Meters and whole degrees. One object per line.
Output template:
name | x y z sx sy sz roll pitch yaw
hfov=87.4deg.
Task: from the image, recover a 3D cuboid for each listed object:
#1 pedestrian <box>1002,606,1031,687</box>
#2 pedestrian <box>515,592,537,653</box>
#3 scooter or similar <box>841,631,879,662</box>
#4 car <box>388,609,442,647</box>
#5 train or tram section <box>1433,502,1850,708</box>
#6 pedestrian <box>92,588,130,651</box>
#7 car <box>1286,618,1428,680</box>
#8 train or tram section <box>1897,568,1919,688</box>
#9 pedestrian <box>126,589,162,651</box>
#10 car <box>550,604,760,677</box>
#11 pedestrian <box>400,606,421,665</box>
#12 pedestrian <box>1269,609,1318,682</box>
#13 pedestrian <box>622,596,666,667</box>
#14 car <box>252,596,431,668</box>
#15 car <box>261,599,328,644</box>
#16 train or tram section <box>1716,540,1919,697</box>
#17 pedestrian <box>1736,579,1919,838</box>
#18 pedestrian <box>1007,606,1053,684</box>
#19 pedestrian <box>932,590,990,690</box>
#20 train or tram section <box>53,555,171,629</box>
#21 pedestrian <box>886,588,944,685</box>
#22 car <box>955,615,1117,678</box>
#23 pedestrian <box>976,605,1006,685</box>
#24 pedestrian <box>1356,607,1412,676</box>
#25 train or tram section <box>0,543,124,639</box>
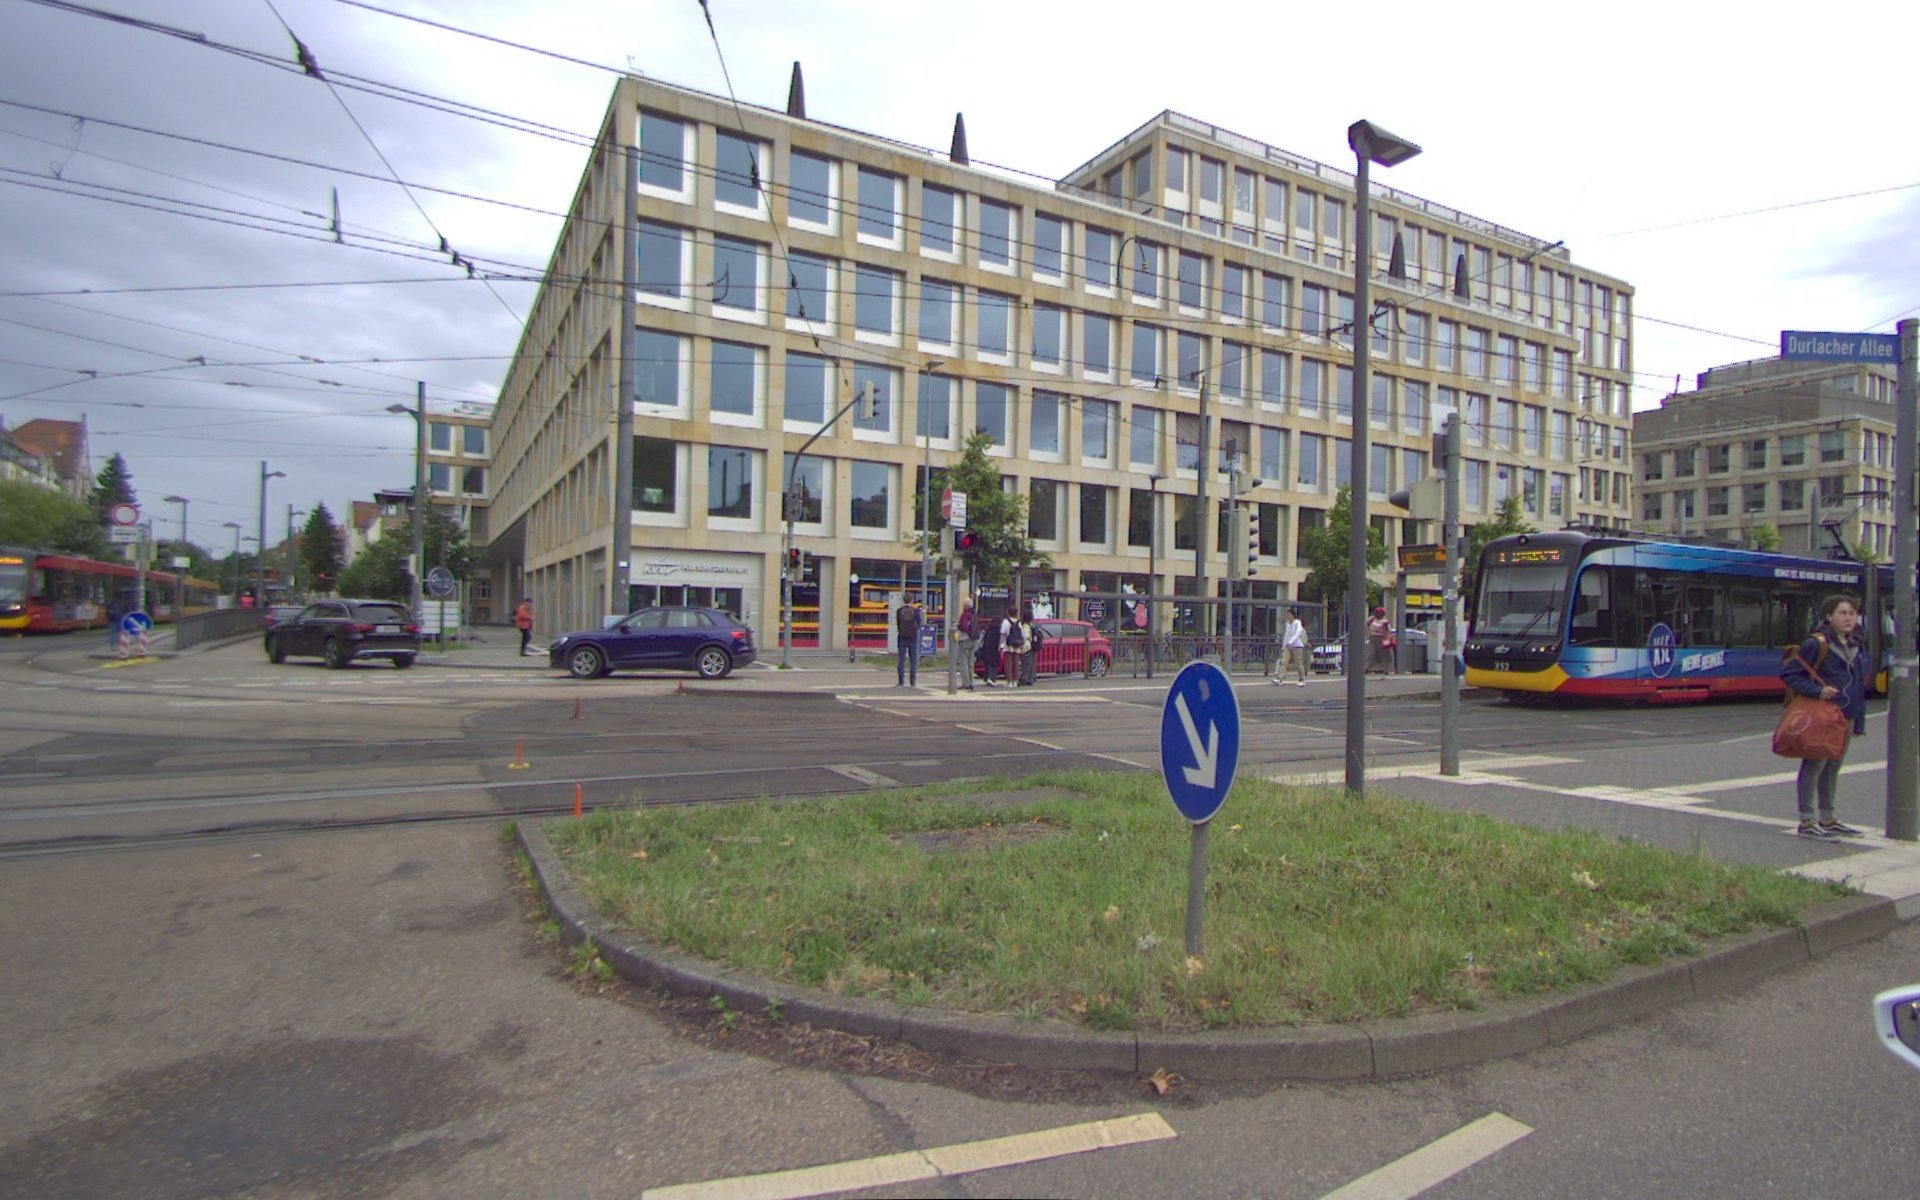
pedestrian | 1.175 0.951 20.773 0.514 1.619 0.717 1 -1 6
pedestrian | -13.038 0.684 30.193 0.457 1.818 0.411 3 -2 -39
scooter or similar | -3.073 1.430 30.853 0.685 0.860 1.479 2 -1 -25
car | -21.563 1.090 39.844 1.773 1.439 3.677 2 -1 -27
train or tram section | 15.355 0.326 22.110 11.627 3.688 2.841 3 -2 -30
pedestrian | -24.662 0.569 29.204 0.677 1.777 0.851 2 -2 -33
car | 12.118 1.485 30.616 3.953 1.762 1.985 3 -2 -30
train or tram section | 36.216 1.123 33.999 13.362 3.740 2.841 3 -2 -30
pedestrian | -24.036 0.599 29.605 0.677 1.777 0.851 2 -2 -33
car | -6.653 0.894 22.330 4.291 1.514 1.740 1 -1 -13
pedestrian | -17.209 1.116 31.453 0.457 1.818 0.411 3 -2 -39
pedestrian | 7.508 1.023 22.629 0.757 1.606 0.704 2 -2 -31
pedestrian | -9.400 0.941 29.890 0.986 2.040 1.038 2 -2 -30
car | -15.217 0.757 24.683 4.240 1.620 1.743 1 -1 26
car | -25.338 0.792 38.350 1.978 1.617 3.965 2 -1 -32
train or tram section | 25.394 0.675 27.849 11.563 3.688 2.841 3 -2 -30
pedestrian | 6.007 0.712 6.936 0.844 1.664 0.653 1 -1 20
pedestrian | 1.497 0.945 21.479 0.704 1.619 0.707 1 -1 30
pedestrian | 0.018 0.780 19.652 0.839 1.892 0.747 1 -1 27
train or tram section | -46.776 -0.294 55.874 2.574 3.560 14.000 2 -2 -31
pedestrian | -0.895 0.719 20.026 0.839 1.892 0.747 1 -1 27
car | 1.921 1.148 25.134 3.725 1.468 1.730 2 -1 -31
pedestrian | 0.651 0.925 20.932 0.514 1.619 0.717 1 -1 6
pedestrian | 10.168 0.996 24.098 0.838 1.606 0.903 2 -2 -30
train or tram section | -39.625 -0.285 43.791 2.574 3.560 14.000 2 -2 -31
